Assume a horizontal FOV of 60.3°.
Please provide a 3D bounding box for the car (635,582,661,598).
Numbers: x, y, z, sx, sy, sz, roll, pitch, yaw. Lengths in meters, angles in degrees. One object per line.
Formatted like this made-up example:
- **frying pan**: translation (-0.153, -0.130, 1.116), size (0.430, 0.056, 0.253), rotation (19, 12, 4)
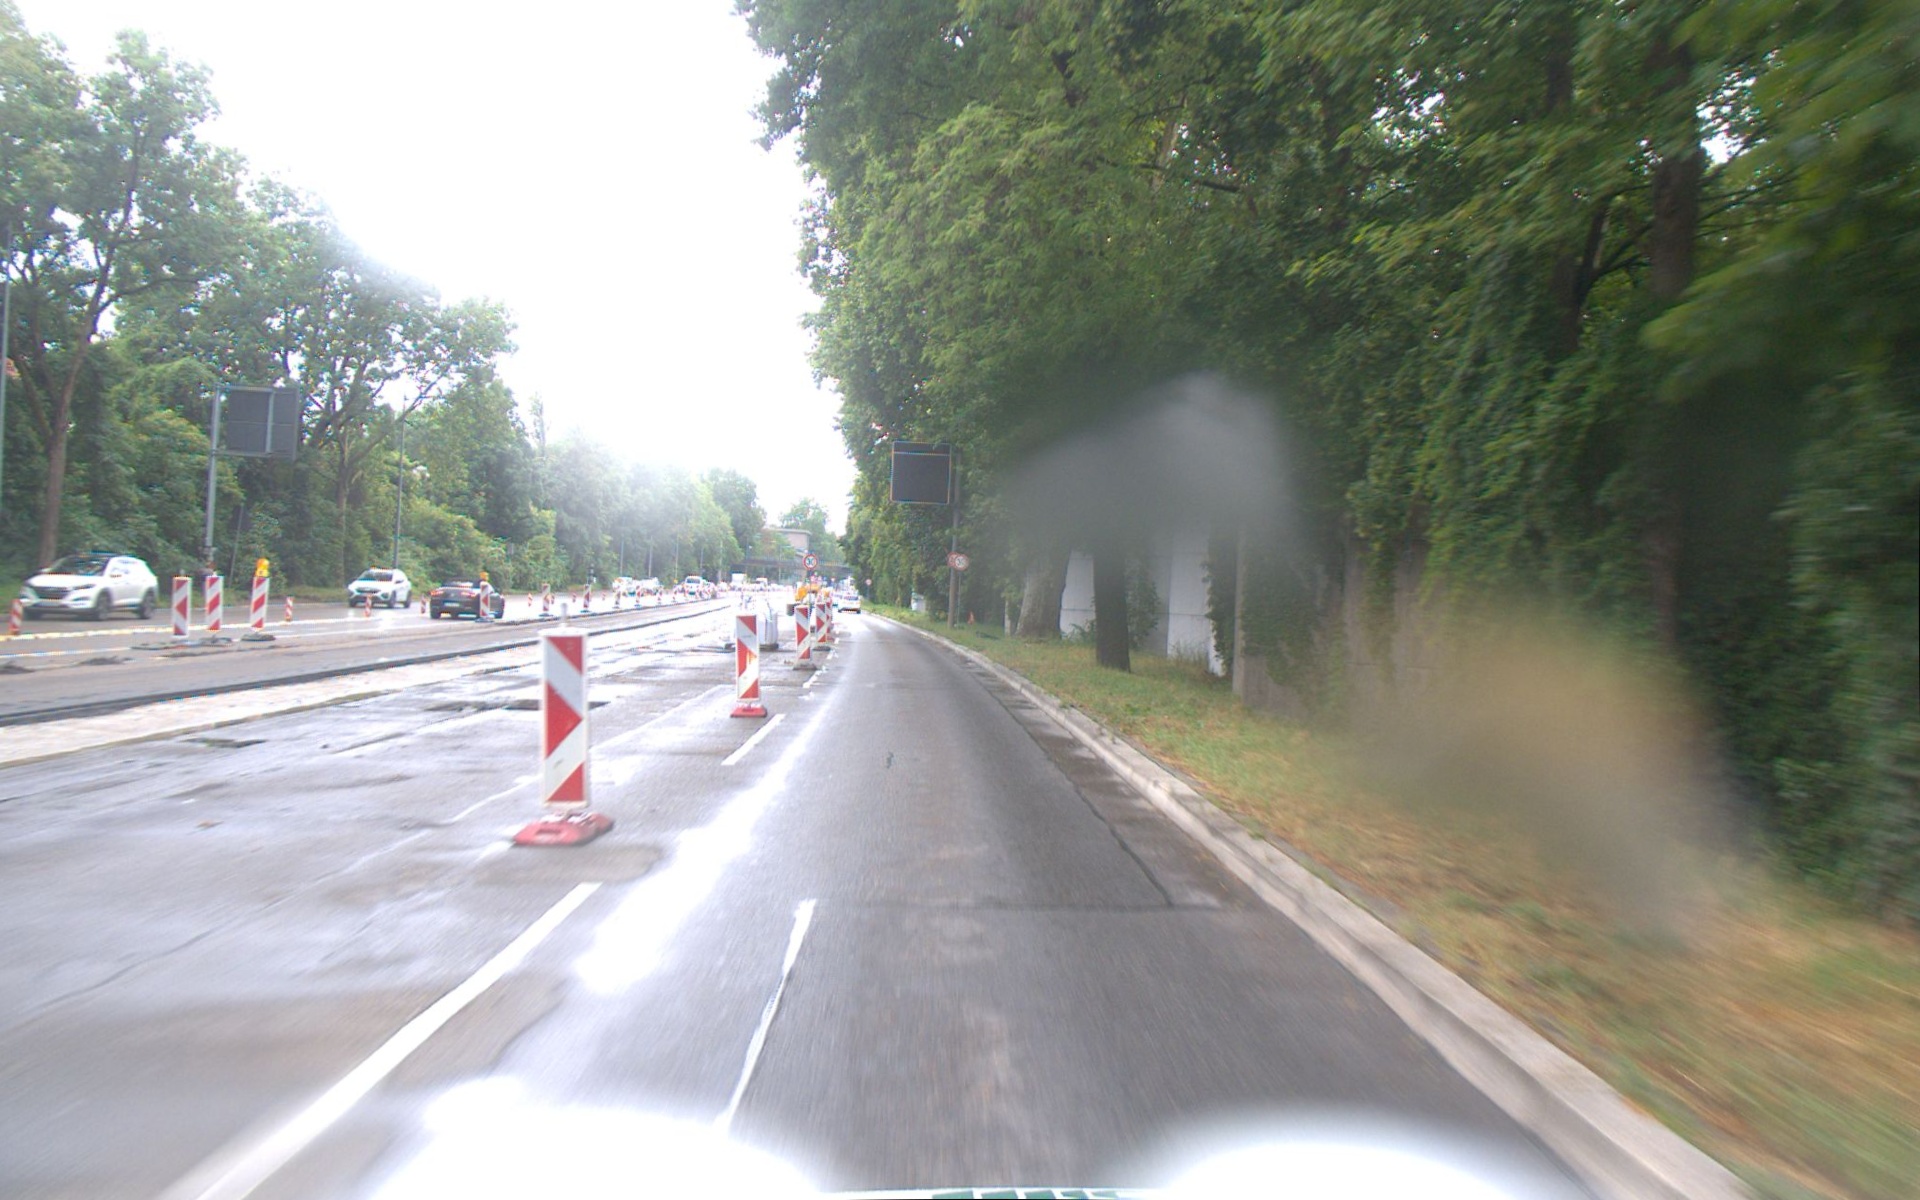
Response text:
- **car**: translation (-27.374, -0.880, 145.260), size (1.782, 1.379, 4.385), rotation (1, 0, -5)

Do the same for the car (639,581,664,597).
- **car**: translation (-28.030, -0.985, 150.311), size (1.782, 1.379, 4.200), rotation (1, 0, -5)

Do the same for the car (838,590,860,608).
- **car**: translation (-8.876, -0.101, 132.207), size (1.664, 1.359, 3.487), rotation (1, 0, -5)

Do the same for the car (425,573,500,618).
- **car**: translation (-17.366, -0.171, 57.871), size (1.576, 1.429, 4.038), rotation (3, 0, -4)

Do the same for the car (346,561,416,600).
- **car**: translation (-23.999, -0.812, 68.688), size (1.633, 1.568, 4.155), rotation (0, 0, -3)

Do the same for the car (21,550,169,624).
- **car**: translation (-22.239, -0.334, 42.719), size (1.742, 1.781, 4.377), rotation (2, 0, -4)

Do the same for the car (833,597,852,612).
- **car**: translation (-11.870, 0.475, 167.200), size (1.819, 1.458, 3.726), rotation (1, 0, -6)
